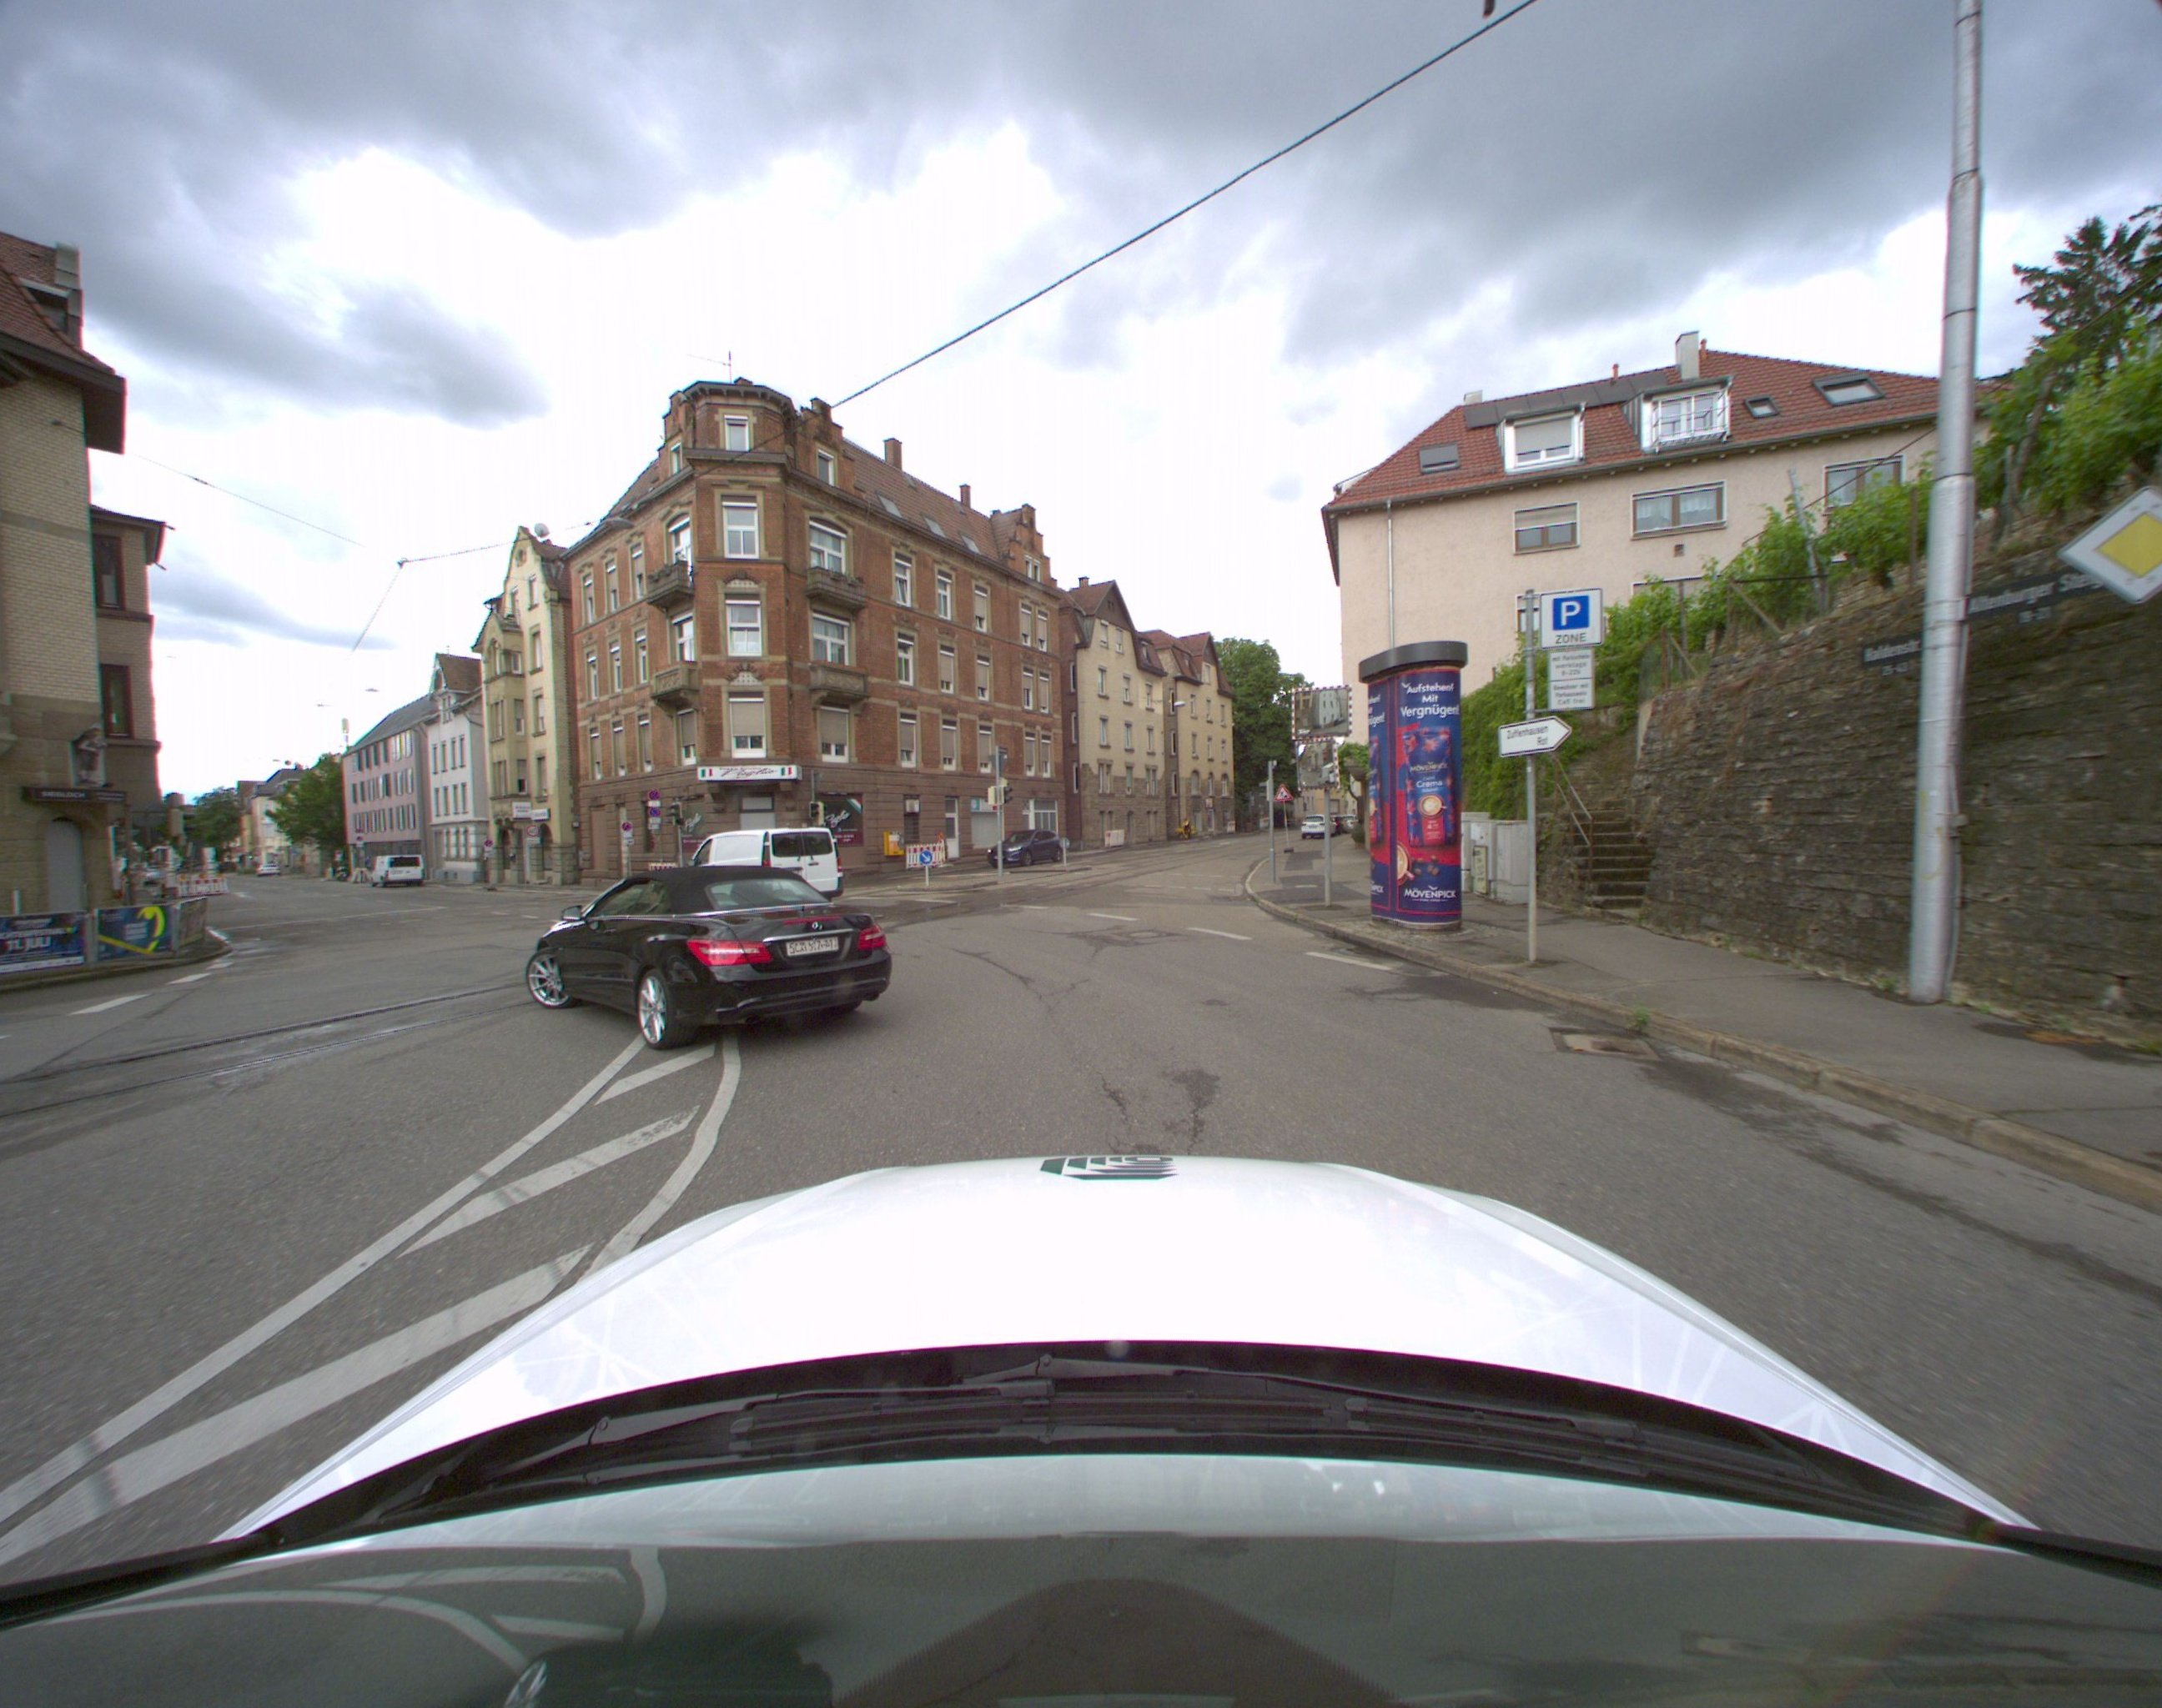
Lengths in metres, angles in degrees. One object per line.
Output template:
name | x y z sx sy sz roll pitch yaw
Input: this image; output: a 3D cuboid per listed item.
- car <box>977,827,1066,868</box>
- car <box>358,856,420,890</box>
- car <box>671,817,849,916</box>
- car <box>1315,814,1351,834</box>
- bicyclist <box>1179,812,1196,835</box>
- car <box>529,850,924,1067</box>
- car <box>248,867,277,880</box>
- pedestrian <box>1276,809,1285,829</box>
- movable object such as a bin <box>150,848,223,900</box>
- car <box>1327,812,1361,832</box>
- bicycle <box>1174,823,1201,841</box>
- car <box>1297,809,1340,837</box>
car | -2.671 -0.328 37.627 1.974 1.514 4.313 -4 1 29
car | -44.519 1.207 52.359 4.862 2.005 2.149 -1 0 39
car | -7.414 0.340 18.567 4.586 1.928 1.910 -4 0 44
car | 18.865 -2.268 60.892 1.975 1.288 4.024 -4 0 25
bicyclist | 8.402 -2.426 64.267 0.934 1.702 0.790 -5 0 44
car | -3.584 0.839 7.771 4.342 1.409 1.778 -4 0 43
car | -97.735 2.302 97.210 3.948 1.486 2.012 -1 -2 39
pedestrian | 21.074 -3.711 86.021 0.757 2.013 0.758 -3 1 24
movable object such as a bin | -54.128 1.188 49.263 4.480 2.824 2.562 -1 3 39
car | 21.336 -2.592 66.002 1.792 1.462 4.026 -4 1 30
bicycle | 8.391 -1.734 64.245 0.625 1.306 2.616 -5 1 41
car | 16.370 -2.128 55.993 1.931 1.718 4.025 -4 1 29
